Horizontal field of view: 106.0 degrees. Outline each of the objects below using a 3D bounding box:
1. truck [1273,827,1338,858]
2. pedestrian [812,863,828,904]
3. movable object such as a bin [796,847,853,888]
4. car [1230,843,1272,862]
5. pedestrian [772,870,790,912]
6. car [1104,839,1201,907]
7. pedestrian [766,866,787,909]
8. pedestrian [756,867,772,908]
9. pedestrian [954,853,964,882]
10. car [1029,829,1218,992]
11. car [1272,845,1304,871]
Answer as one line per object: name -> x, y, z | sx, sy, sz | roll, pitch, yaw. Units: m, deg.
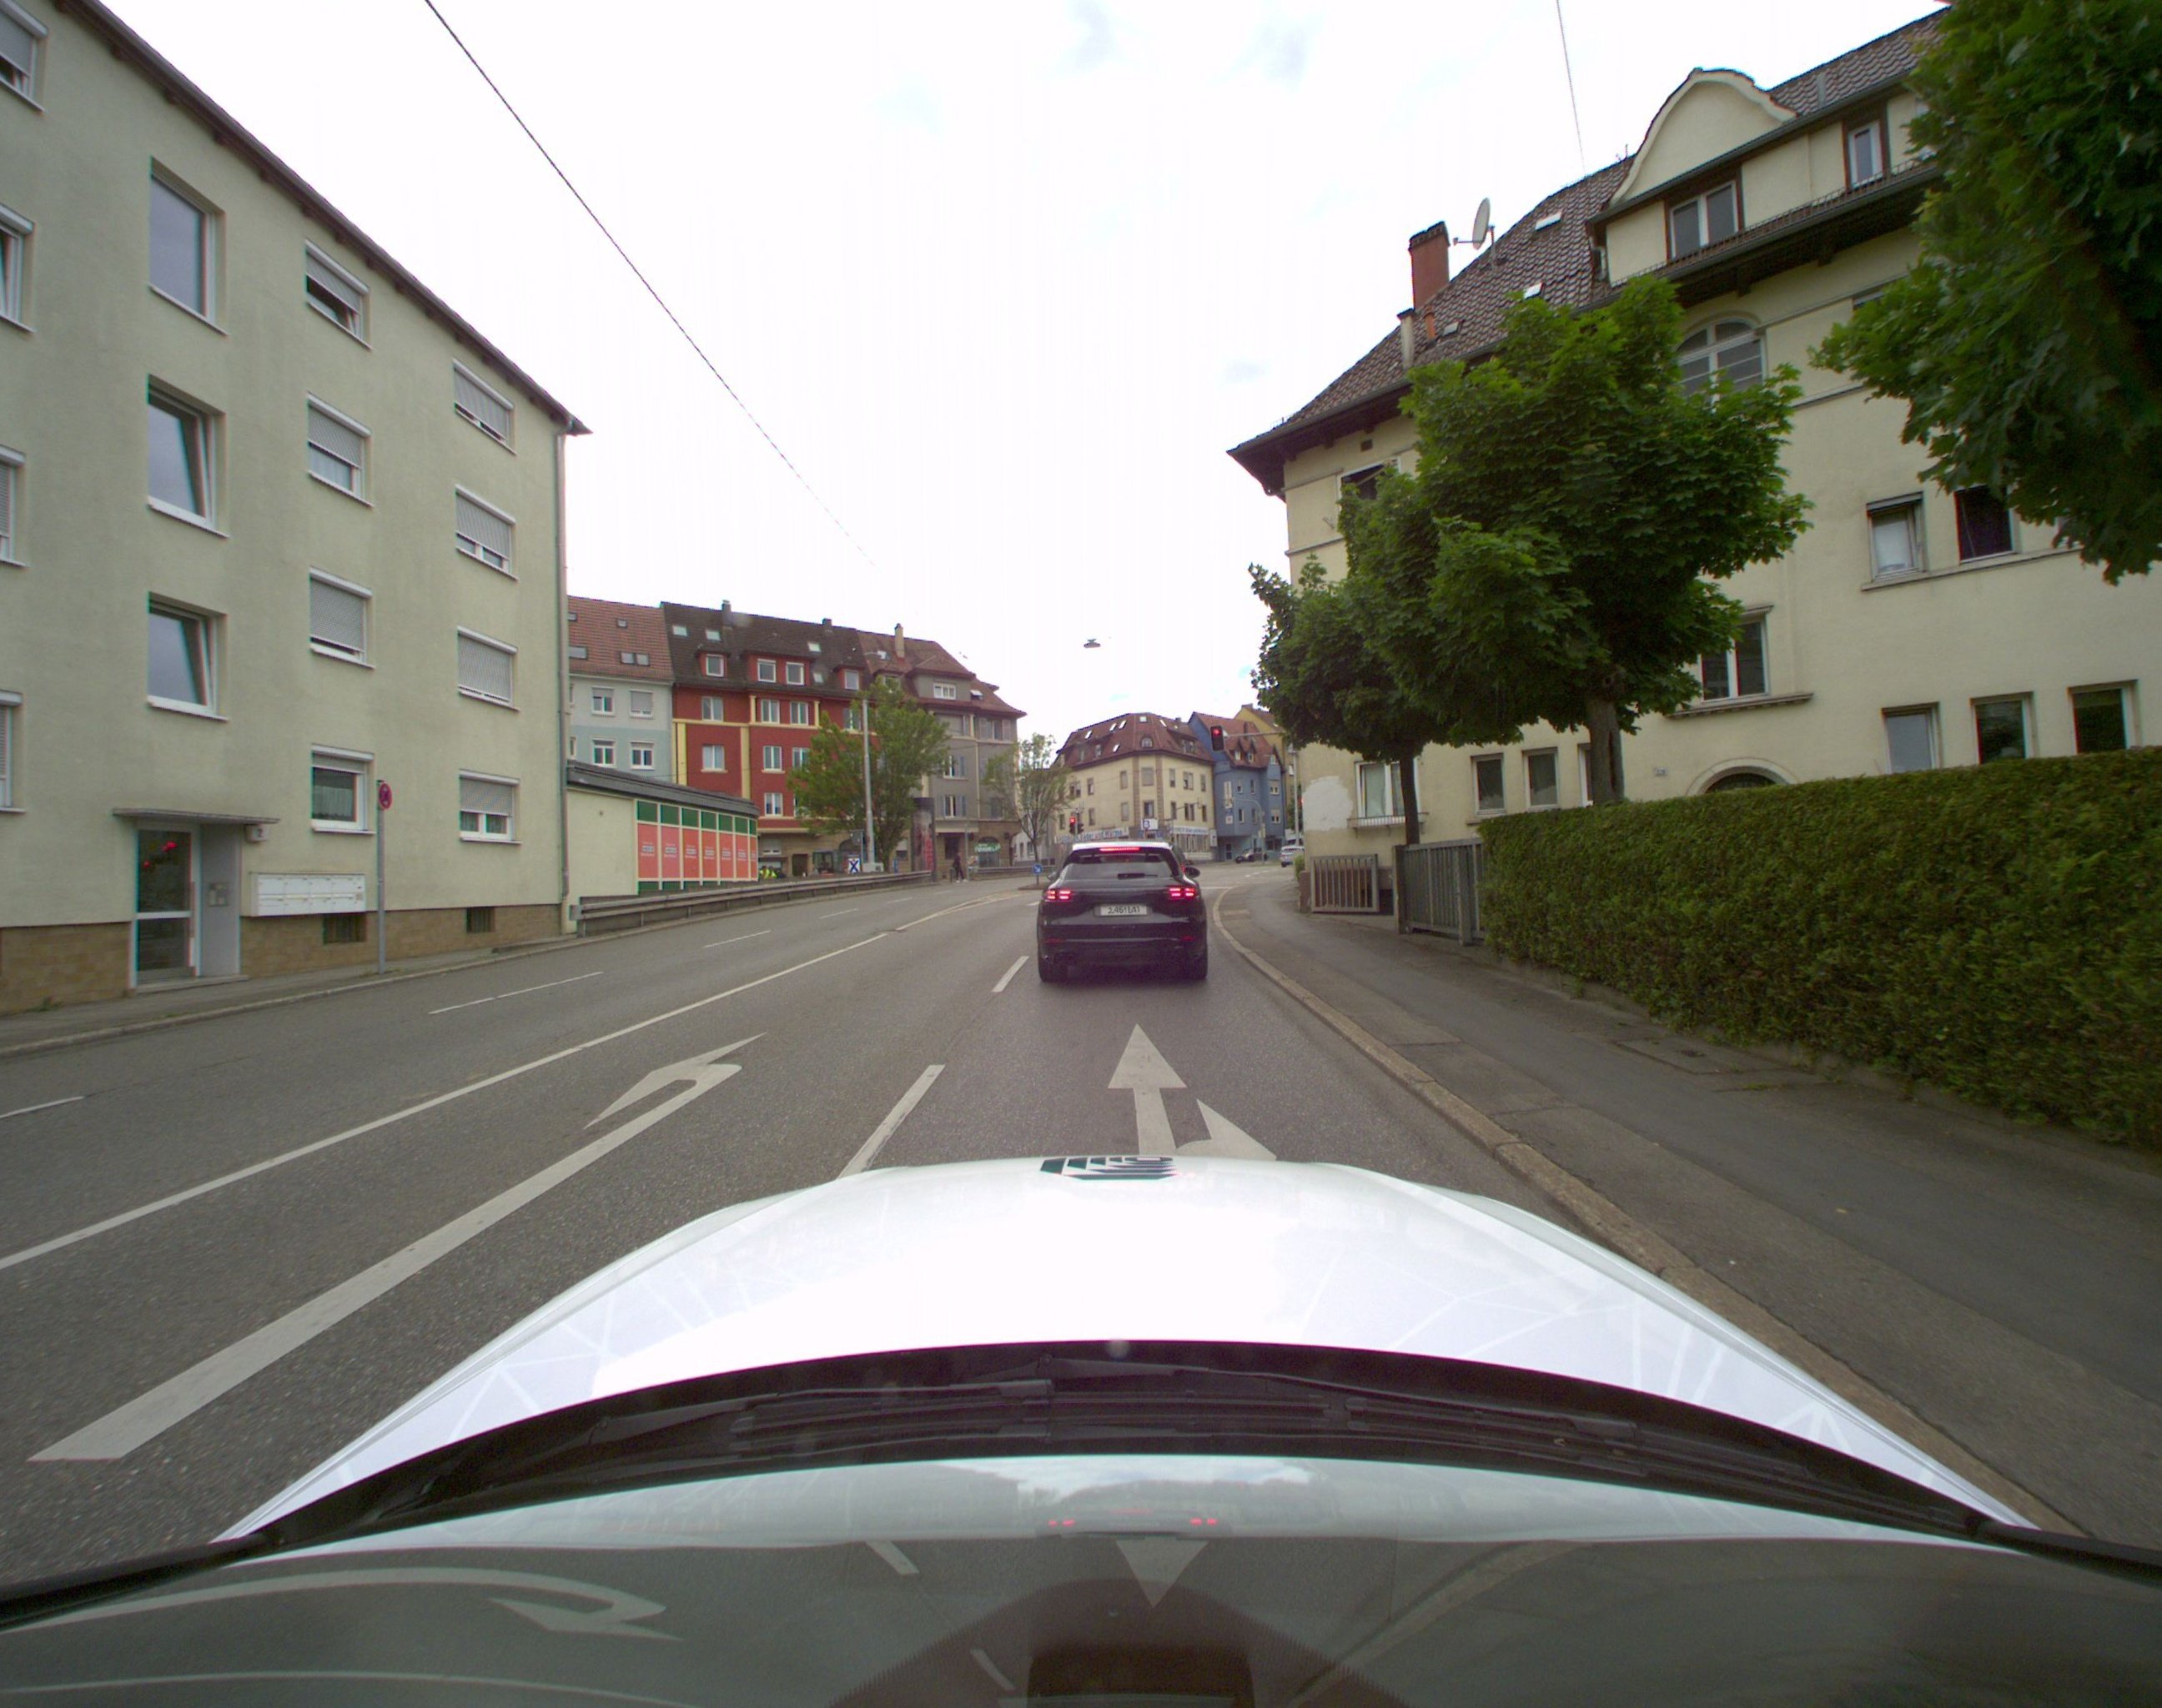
truck -> 25.149, -1.286, 90.870 | 8.844, 3.340, 2.847 | -1, 0, -44
pedestrian -> -11.029, 1.228, 34.381 | 0.545, 1.730, 0.588 | 0, 0, -30
movable object such as a bin -> -11.686, 0.575, 37.384 | 1.902, 1.771, 3.987 | 0, 0, -9
car -> 17.056, -0.145, 81.633 | 4.020, 1.684, 1.977 | -2, 0, -39
pedestrian -> -12.193, 1.497, 33.065 | 0.562, 1.699, 0.542 | 0, 0, -7
car -> 2.093, 0.472, 22.658 | 1.979, 1.684, 4.016 | -2, 0, 15
pedestrian -> -12.847, 1.408, 34.320 | 0.565, 1.761, 0.622 | 0, 0, 39
pedestrian -> -13.637, 1.422, 34.995 | 0.479, 1.730, 0.537 | 0, 0, -42
pedestrian -> -7.259, 0.780, 48.559 | 0.511, 1.730, 0.451 | 0, 0, 6
car -> 0.512, 0.582, 10.737 | 1.971, 1.684, 4.001 | -2, 1, 1
car -> 14.408, 0.276, 56.825 | 1.980, 1.684, 4.015 | -2, 0, 13
